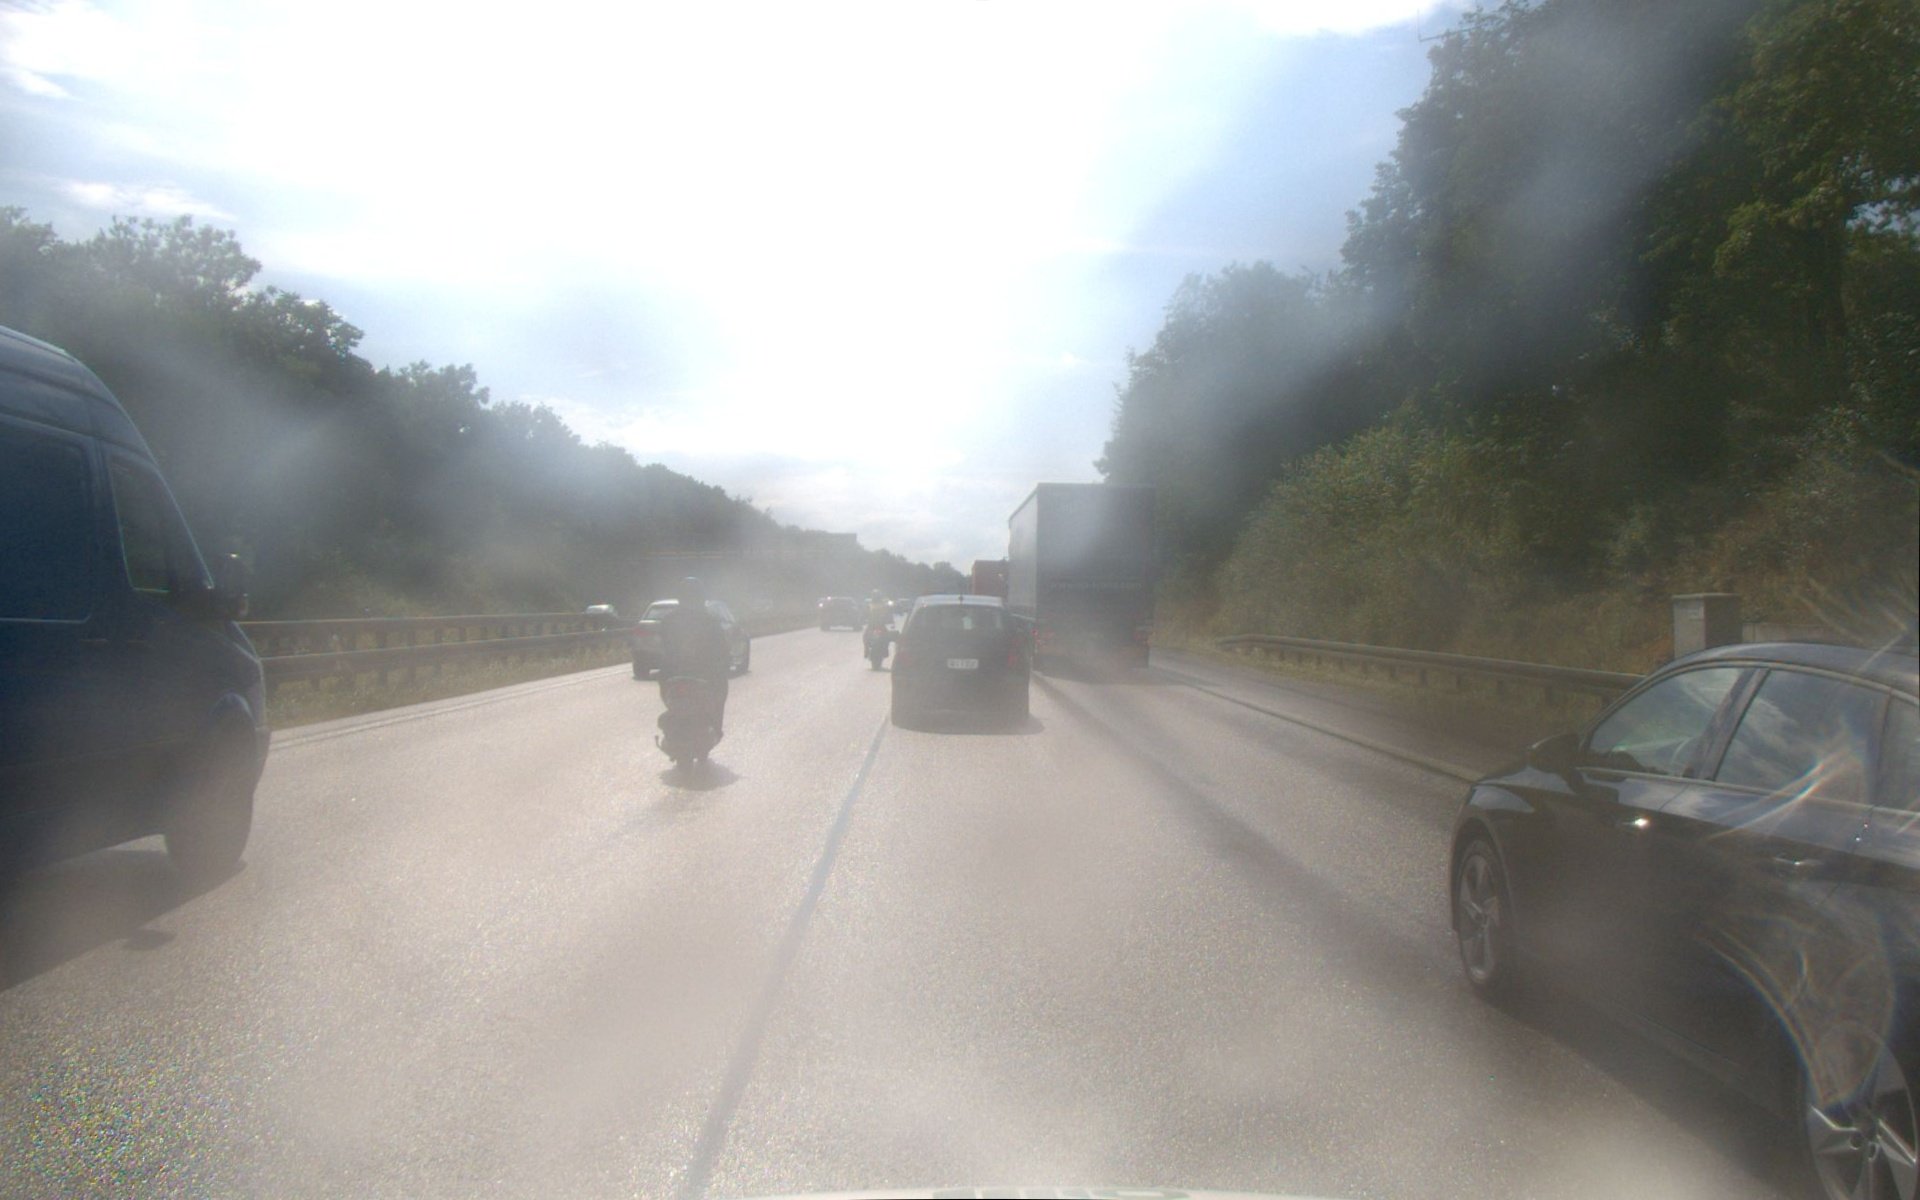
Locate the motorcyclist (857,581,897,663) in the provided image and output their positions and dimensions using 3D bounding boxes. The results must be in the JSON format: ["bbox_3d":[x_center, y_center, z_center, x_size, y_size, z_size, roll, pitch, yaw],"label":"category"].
[{"bbox_3d":[-1.846,0.483,36.801,0.804,1.791,1.390,1,-1,0],"label":"motorcyclist"}]

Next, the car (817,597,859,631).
[{"bbox_3d":[-6.096,0.697,82.731,1.854,1.656,4.194,0,0,-1],"label":"car"}]

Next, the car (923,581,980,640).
[{"bbox_3d":[-0.349,0.393,59.822,1.953,2.049,3.999,1,-1,-1],"label":"car"}]

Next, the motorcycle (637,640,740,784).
[{"bbox_3d":[-2.311,0.923,14.275,0.662,1.106,1.980,1,0,-4],"label":"motorcycle"}]

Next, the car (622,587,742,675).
[{"bbox_3d":[-5.449,0.589,32.934,1.723,1.622,4.329,0,0,-1],"label":"car"}]

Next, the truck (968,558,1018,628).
[{"bbox_3d":[2.165,-0.437,112.300,3.137,4.481,9.431,0,0,0],"label":"truck"}]

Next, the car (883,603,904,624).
[{"bbox_3d":[-6.776,1.383,168.682,1.953,2.049,3.999,1,-1,-1],"label":"car"}]

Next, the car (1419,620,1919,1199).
[{"bbox_3d":[2.916,0.798,5.092,1.719,1.421,4.367,0,0,-1],"label":"car"}]

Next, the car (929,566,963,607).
[{"bbox_3d":[-0.697,-0.628,80.862,1.641,1.970,3.772,0,0,-1],"label":"car"}]

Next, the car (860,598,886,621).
[{"bbox_3d":[-6.073,0.654,115.748,1.641,1.625,3.436,0,0,-1],"label":"car"}]

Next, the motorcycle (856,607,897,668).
[{"bbox_3d":[-1.848,0.816,36.872,0.803,1.285,2.117,1,0,0],"label":"motorcycle"}]

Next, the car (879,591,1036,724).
[{"bbox_3d":[-0.066,0.701,22.063,1.876,1.592,4.313,0,0,-1],"label":"car"}]

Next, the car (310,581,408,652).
[{"bbox_3d":[-18.805,0.474,51.947,1.795,2.048,3.999,0,2,-3],"label":"car"}]

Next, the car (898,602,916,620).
[{"bbox_3d":[-6.095,1.233,189.647,1.953,2.049,3.999,1,-1,-1],"label":"car"}]

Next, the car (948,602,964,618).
[{"bbox_3d":[-0.533,1.368,223.272,1.953,2.049,3.999,1,-1,-1],"label":"car"}]

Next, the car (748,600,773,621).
[{"bbox_3d":[-19.240,1.008,159.420,1.885,1.945,4.288,0,0,-1],"label":"car"}]

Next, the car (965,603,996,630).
[{"bbox_3d":[1.157,0.955,95.383,1.641,1.516,3.436,0,0,-1],"label":"car"}]

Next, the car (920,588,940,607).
[{"bbox_3d":[-2.353,-0.178,130.309,1.598,1.516,3.436,0,0,-1],"label":"car"}]

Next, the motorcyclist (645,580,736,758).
[{"bbox_3d":[-2.306,0.580,14.240,0.657,1.467,1.019,1,-1,-4],"label":"motorcyclist"}]

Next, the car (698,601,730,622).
[{"bbox_3d":[-18.828,0.867,126.716,1.883,1.608,3.999,-1,0,-1],"label":"car"}]

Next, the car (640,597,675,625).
[{"bbox_3d":[-23.053,0.811,126.039,1.953,2.049,3.999,2,0,-1],"label":"car"}]

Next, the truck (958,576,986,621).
[{"bbox_3d":[1.332,-0.126,184.238,2.823,4.770,12.655,1,-1,-1],"label":"truck"}]

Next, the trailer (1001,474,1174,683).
[{"bbox_3d":[2.870,-0.429,41.950,3.025,4.388,14.101,0,0,-1],"label":"trailer"}]

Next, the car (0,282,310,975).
[{"bbox_3d":[-4.731,0.107,6.810,1.975,2.695,5.774,0,0,-2],"label":"car"}]

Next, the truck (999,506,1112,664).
[{"bbox_3d":[2.754,-0.416,49.357,2.989,4.400,5.885,1,0,0],"label":"truck"}]
